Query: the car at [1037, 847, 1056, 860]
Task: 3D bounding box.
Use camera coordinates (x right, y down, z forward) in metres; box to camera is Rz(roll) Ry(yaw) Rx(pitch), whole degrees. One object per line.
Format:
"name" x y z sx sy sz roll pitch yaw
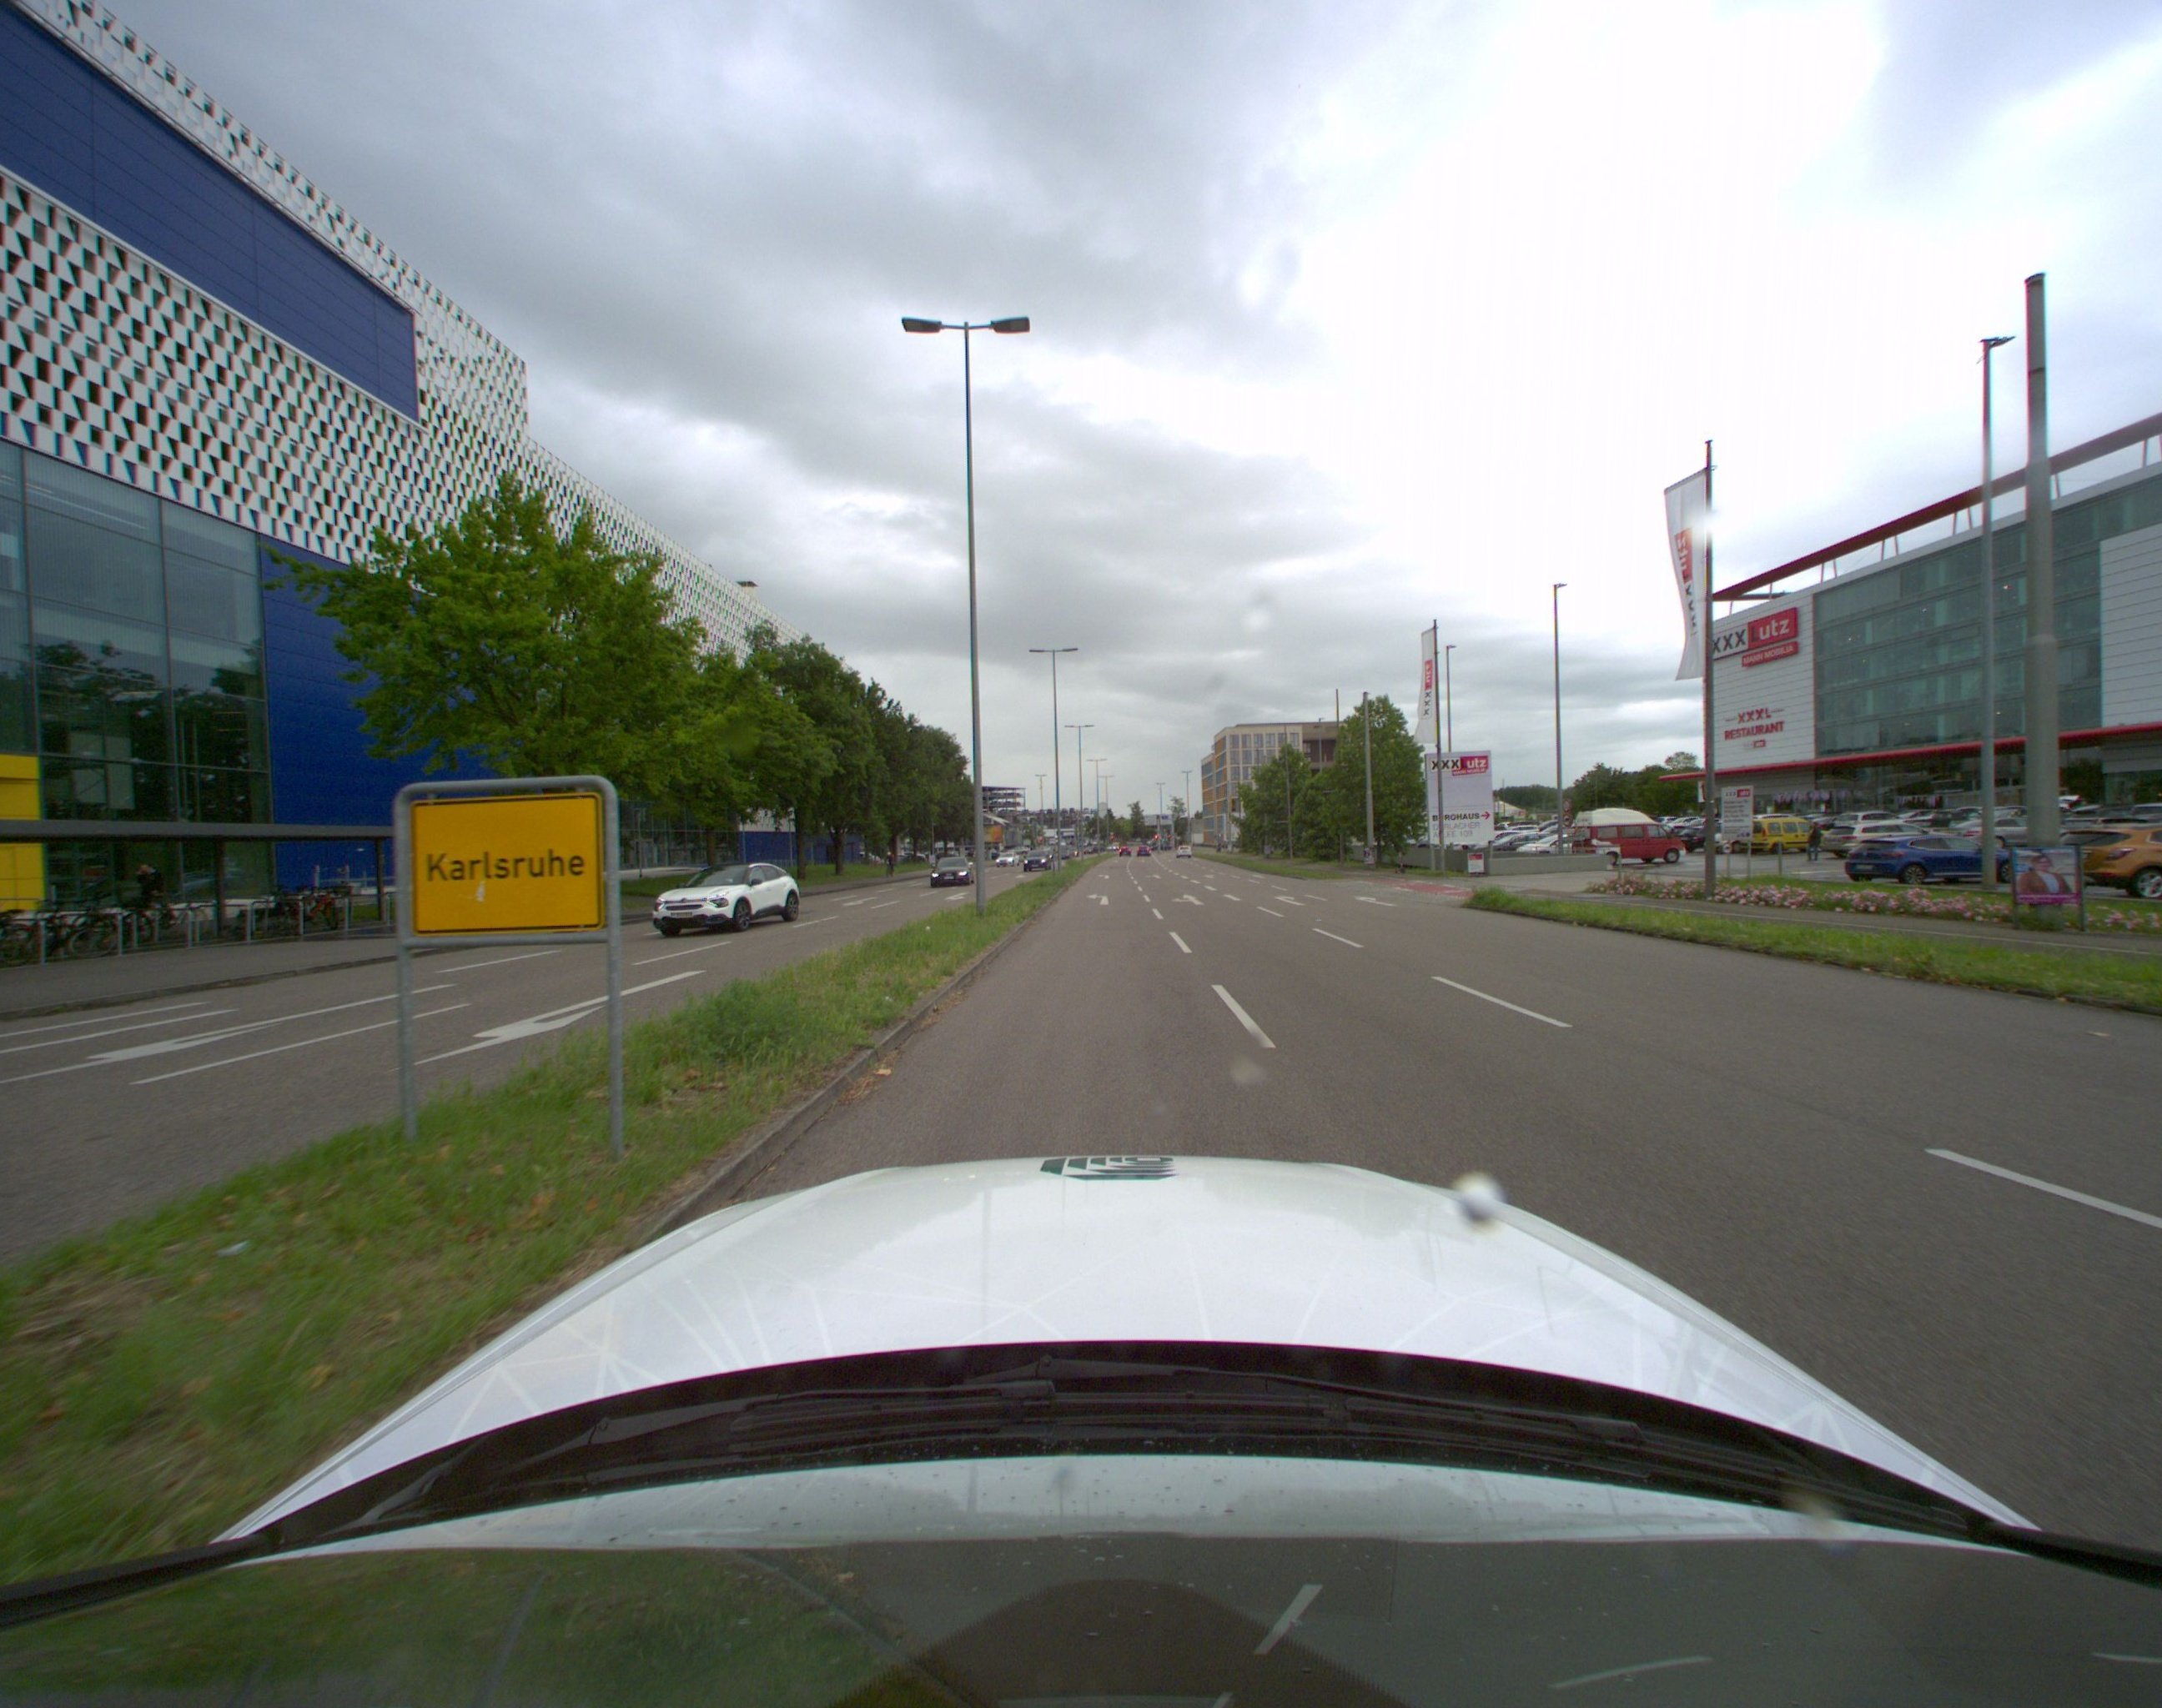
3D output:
"car" -4.091 -0.044 98.179 1.750 1.453 4.004 -4 0 4

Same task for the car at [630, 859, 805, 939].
"car" -8.254 0.948 18.993 1.923 1.519 4.185 -4 0 3

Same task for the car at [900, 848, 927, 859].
"car" -30.903 -0.038 150.429 4.421 1.710 1.999 -2 4 -2

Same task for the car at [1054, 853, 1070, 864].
"car" -2.680 0.671 115.231 1.764 1.452 4.409 -3 0 3

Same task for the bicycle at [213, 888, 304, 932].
"bicycle" -21.375 1.457 21.182 1.802 1.082 0.594 0 0 2

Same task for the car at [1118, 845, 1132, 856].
"car" 6.632 -0.521 122.069 1.980 1.428 4.243 -1 0 2

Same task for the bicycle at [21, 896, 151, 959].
"bicycle" -19.620 1.440 16.076 1.886 1.157 0.594 0 0 2

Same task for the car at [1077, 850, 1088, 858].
"car" 0.248 0.048 150.599 1.925 1.455 4.180 -1 0 -1

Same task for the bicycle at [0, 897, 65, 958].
"bicycle" -21.612 1.451 16.236 2.008 1.157 0.594 0 0 2

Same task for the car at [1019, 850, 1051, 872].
"car" -3.331 0.468 60.148 1.924 1.486 4.441 -3 0 2

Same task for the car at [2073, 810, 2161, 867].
"car" 34.634 -0.547 25.928 3.878 1.653 1.832 -3 1 0

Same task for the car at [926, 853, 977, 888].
"car" -6.239 0.738 39.763 1.879 1.436 4.427 -4 1 -3

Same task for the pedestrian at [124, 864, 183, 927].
"pedestrian" -26.590 1.186 23.359 0.674 1.745 0.809 -1 1 2

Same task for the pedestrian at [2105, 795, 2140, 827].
"pedestrian" 62.877 -2.593 49.177 0.947 1.869 0.967 -2 2 -12

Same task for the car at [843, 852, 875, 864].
"car" -39.971 0.706 146.849 5.117 1.963 1.880 -2 4 -2

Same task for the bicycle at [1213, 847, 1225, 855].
"bicycle" 22.482 -0.527 132.655 0.705 1.295 1.990 -2 1 -33

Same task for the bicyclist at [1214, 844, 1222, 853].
"bicyclist" 22.358 -0.936 132.842 0.705 1.503 0.990 -2 1 -33

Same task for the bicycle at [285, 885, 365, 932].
"bicycle" -19.860 1.414 21.404 2.000 1.157 0.596 0 0 16

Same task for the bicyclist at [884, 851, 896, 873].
"bicyclist" -13.913 0.587 59.375 0.638 1.577 1.001 0 0 2

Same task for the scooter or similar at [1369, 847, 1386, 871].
"scooter or similar" 17.668 0.299 48.507 0.646 1.421 1.825 -2 0 11

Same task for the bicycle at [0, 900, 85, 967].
"bicycle" -19.632 1.457 14.995 1.886 1.157 0.594 0 0 2

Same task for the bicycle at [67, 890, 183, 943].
"bicycle" -21.782 1.412 18.571 2.008 1.157 0.594 0 0 2

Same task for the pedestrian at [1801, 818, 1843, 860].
"pedestrian" 30.629 -0.633 33.667 0.936 1.719 0.886 -2 2 1

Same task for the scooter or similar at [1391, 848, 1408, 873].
"scooter or similar" 15.760 0.308 40.313 0.368 1.191 1.249 -2 1 2

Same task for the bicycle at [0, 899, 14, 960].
"bicycle" -21.710 1.452 15.529 2.008 1.157 0.594 0 0 2

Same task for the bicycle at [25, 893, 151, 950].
"bicycle" -21.261 1.437 17.451 2.008 1.157 0.594 0 0 2

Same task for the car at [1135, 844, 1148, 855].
"car" 8.878 -0.694 120.095 1.827 1.514 4.004 -1 2 3

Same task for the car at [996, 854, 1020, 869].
"car" -7.480 0.771 83.897 1.858 1.454 4.171 -3 0 3

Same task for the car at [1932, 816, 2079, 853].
"car" 39.897 -0.857 35.238 4.220 1.468 1.741 -1 2 4

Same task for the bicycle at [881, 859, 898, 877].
"bicycle" -13.931 0.973 59.360 0.640 1.251 2.057 0 1 2

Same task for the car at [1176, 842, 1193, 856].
"car" 13.085 -0.623 102.999 1.984 1.752 4.185 -1 0 4

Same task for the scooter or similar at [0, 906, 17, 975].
"scooter or similar" -18.561 1.460 13.331 0.419 1.148 1.357 -2 -1 34

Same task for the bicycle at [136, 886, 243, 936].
"bicycle" -21.746 1.390 19.873 2.008 1.157 0.594 0 0 2

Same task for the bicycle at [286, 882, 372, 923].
"bicycle" -21.592 1.374 23.399 2.006 1.122 0.594 0 0 4
